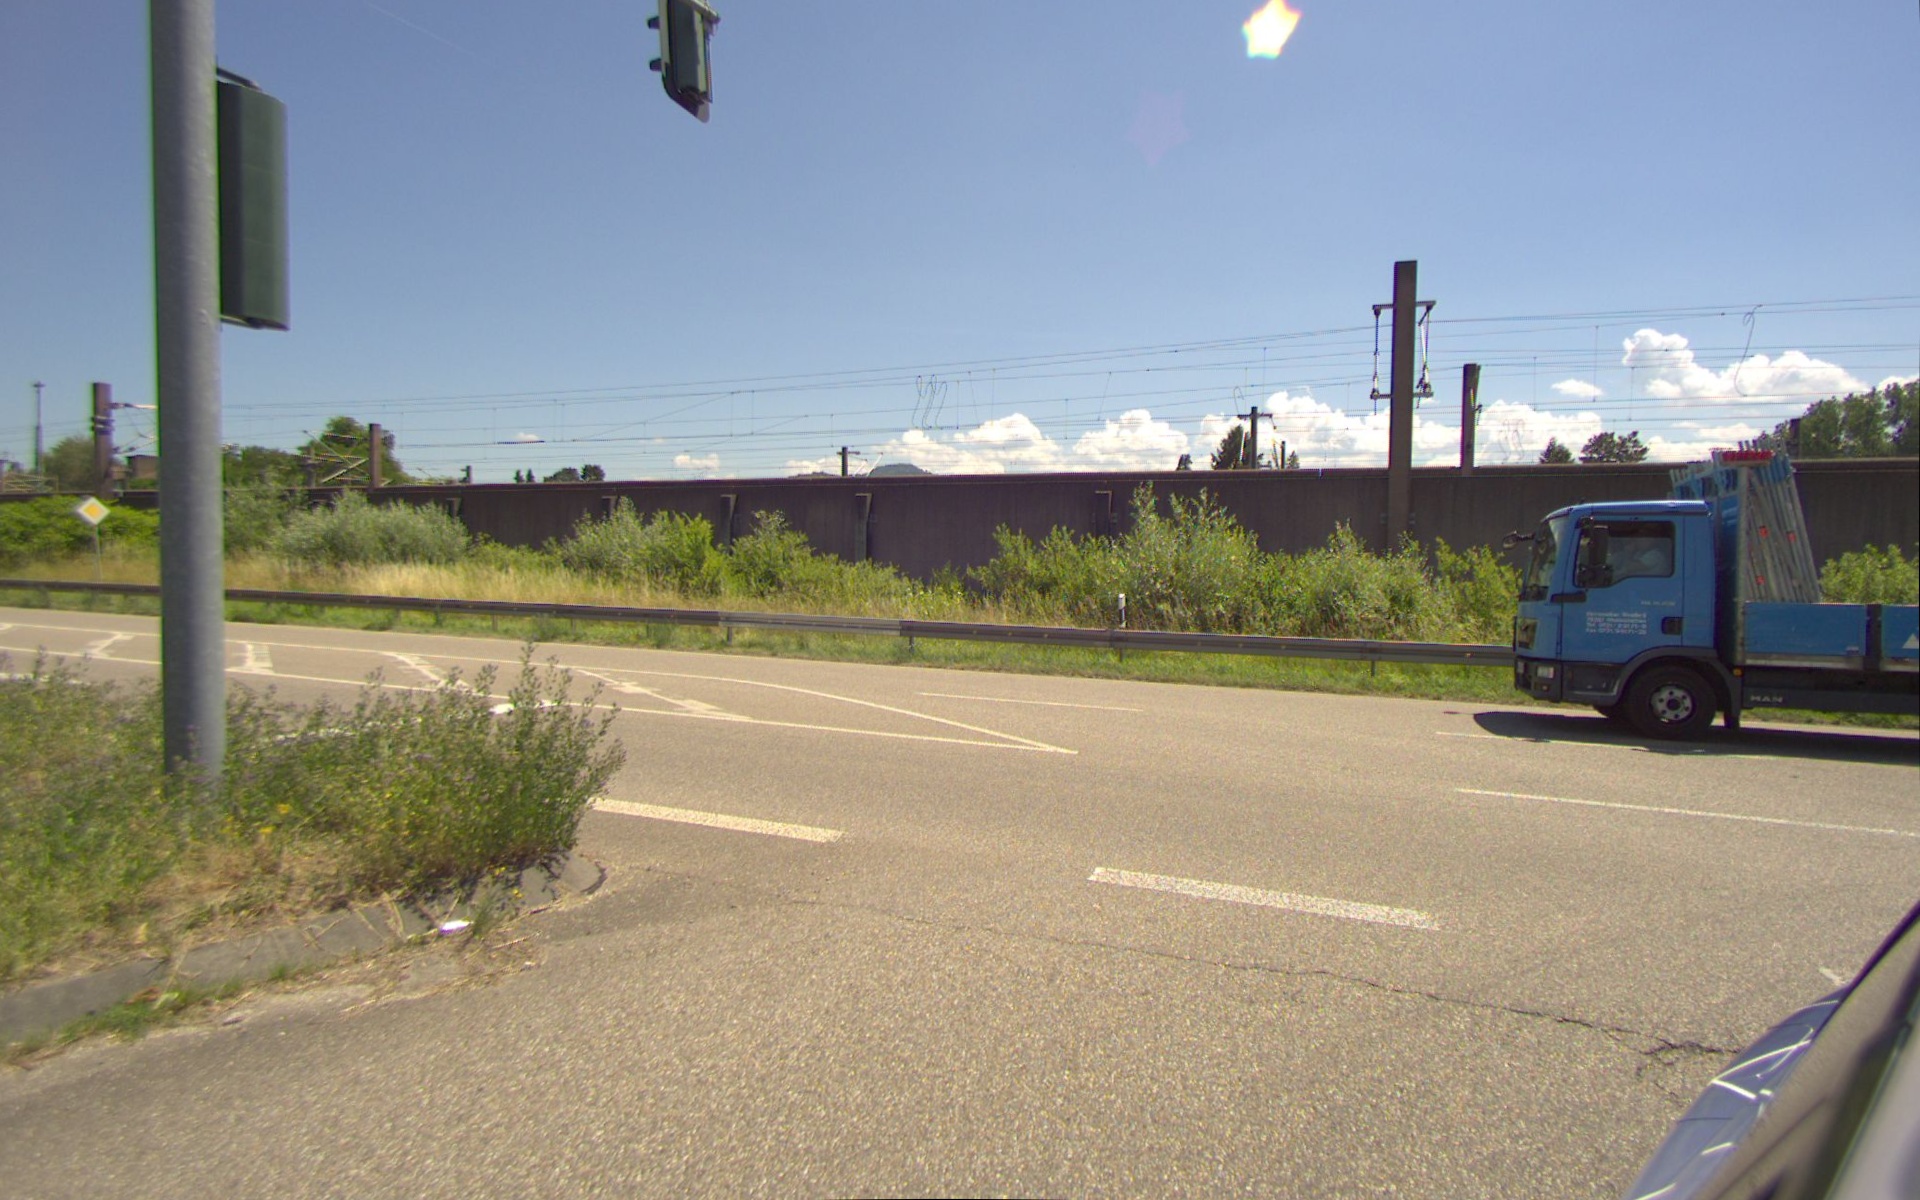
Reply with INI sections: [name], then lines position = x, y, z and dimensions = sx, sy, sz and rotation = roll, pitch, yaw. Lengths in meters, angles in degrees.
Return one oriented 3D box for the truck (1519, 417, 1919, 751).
[truck]
position = 10.929, -0.103, 10.503
dimensions = 8.527, 3.189, 2.901
rotation = 3, 1, 23
